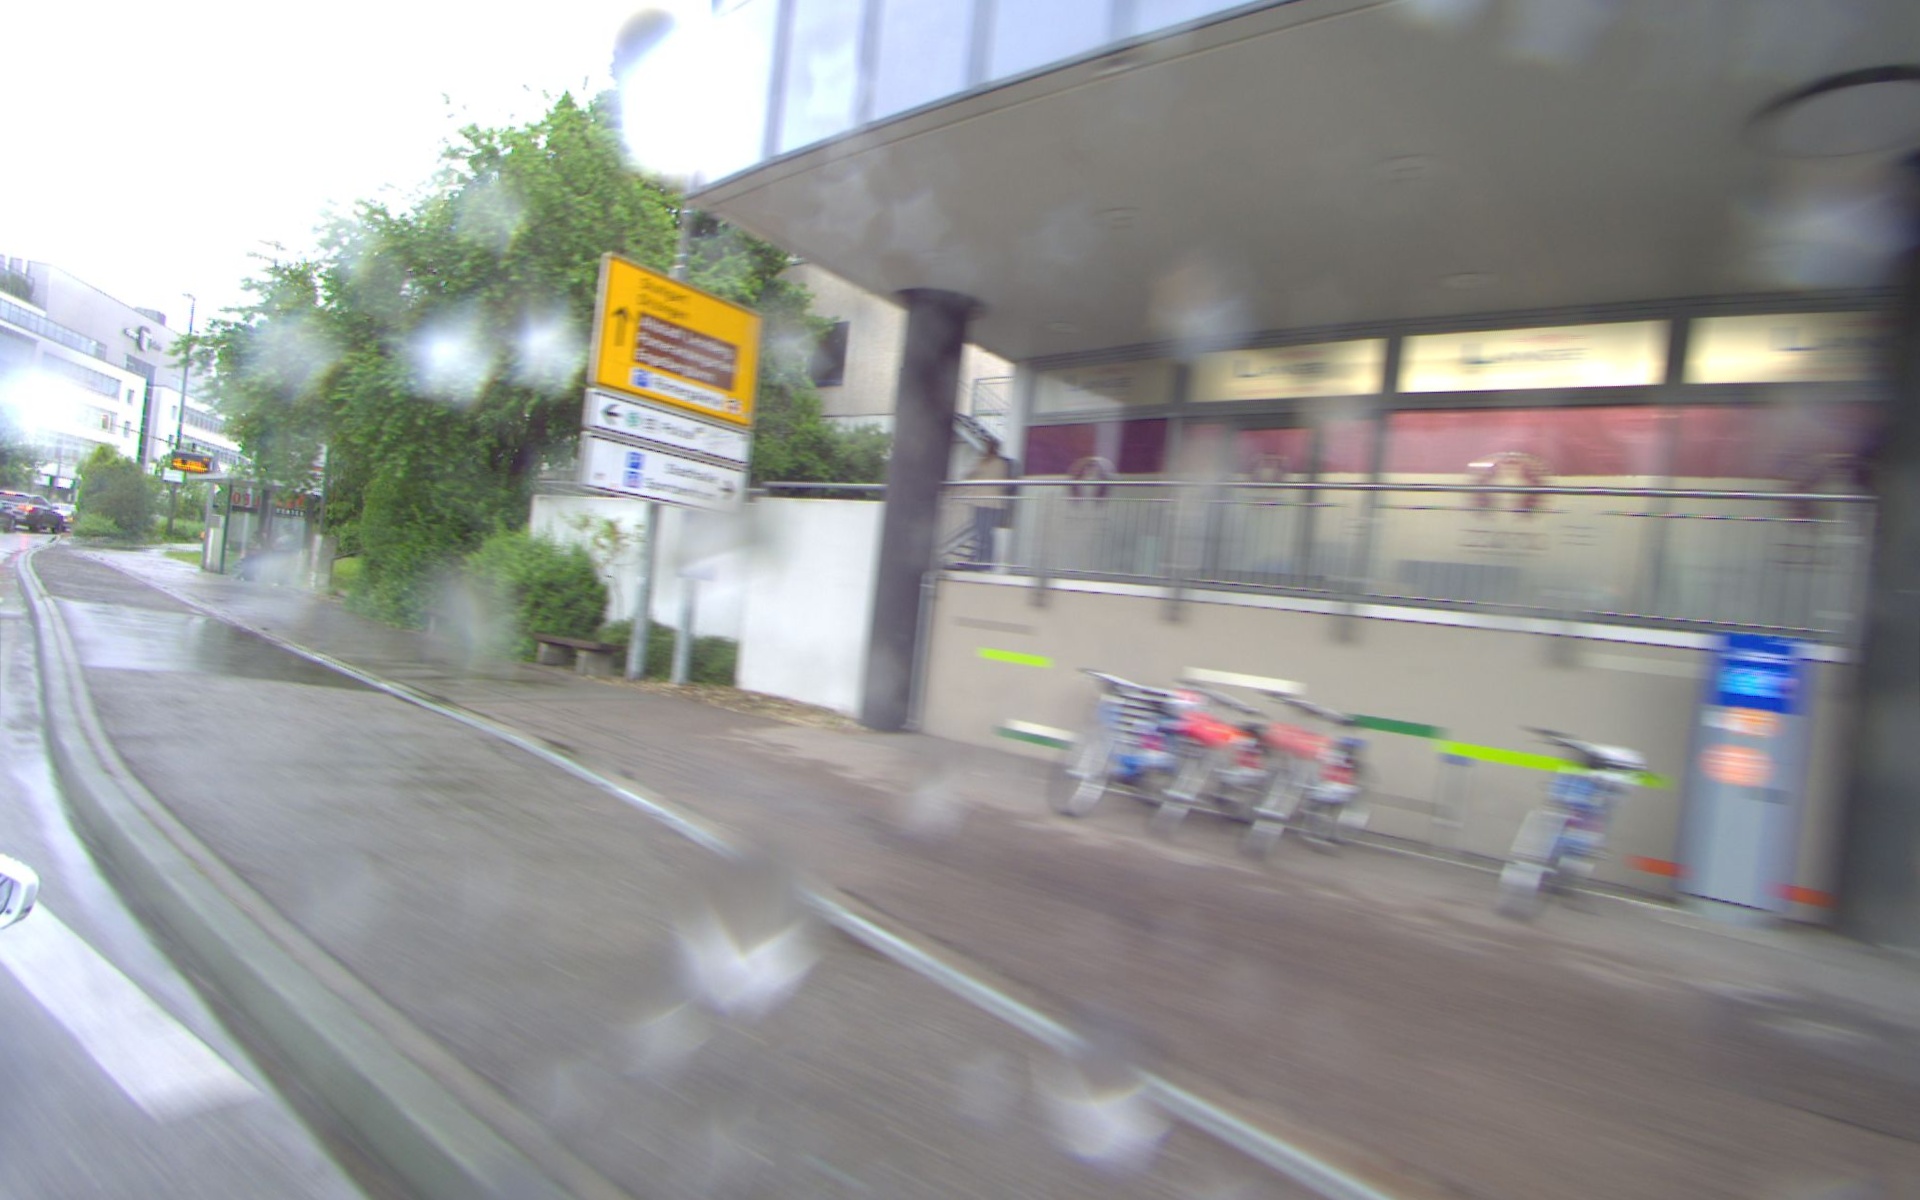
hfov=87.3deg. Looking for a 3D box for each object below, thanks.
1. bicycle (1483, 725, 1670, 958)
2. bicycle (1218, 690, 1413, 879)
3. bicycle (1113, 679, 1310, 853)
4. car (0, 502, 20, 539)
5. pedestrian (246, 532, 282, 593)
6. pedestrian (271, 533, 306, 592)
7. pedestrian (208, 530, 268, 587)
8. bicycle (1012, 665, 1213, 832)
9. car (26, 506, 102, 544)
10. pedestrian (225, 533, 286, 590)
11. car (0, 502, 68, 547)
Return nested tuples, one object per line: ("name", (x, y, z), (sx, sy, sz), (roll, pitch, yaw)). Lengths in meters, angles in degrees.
("bicycle", (3.893, 1.399, 6.277), (0.684, 1.124, 1.828), (5, -1, 39))
("bicycle", (2.650, 1.275, 7.372), (0.684, 1.124, 1.808), (7, 0, 39))
("bicycle", (1.973, 1.211, 7.716), (0.675, 1.098, 1.799), (7, 0, 39))
("car", (-38.178, -3.216, 38.901), (1.621, 1.402, 4.479), (9, -2, -31))
("pedestrian", (-16.407, -0.873, 23.718), (0.404, 1.383, 0.542), (6, 1, -6))
("pedestrian", (-16.391, -0.906, 24.557), (0.404, 1.383, 0.542), (5, 1, -7))
("pedestrian", (-18.319, -1.045, 25.525), (0.682, 1.298, 1.028), (6, 1, 39))
("bicycle", (1.282, 1.150, 8.149), (0.684, 1.124, 1.808), (7, 0, 39))
("car", (-45.078, -3.730, 50.685), (1.620, 1.465, 4.243), (8, -2, -26))
("pedestrian", (-17.648, -0.969, 25.194), (0.682, 1.298, 1.028), (6, 1, 39))
("car", (-41.631, -3.363, 44.699), (1.887, 1.639, 4.306), (9, -2, -28))
